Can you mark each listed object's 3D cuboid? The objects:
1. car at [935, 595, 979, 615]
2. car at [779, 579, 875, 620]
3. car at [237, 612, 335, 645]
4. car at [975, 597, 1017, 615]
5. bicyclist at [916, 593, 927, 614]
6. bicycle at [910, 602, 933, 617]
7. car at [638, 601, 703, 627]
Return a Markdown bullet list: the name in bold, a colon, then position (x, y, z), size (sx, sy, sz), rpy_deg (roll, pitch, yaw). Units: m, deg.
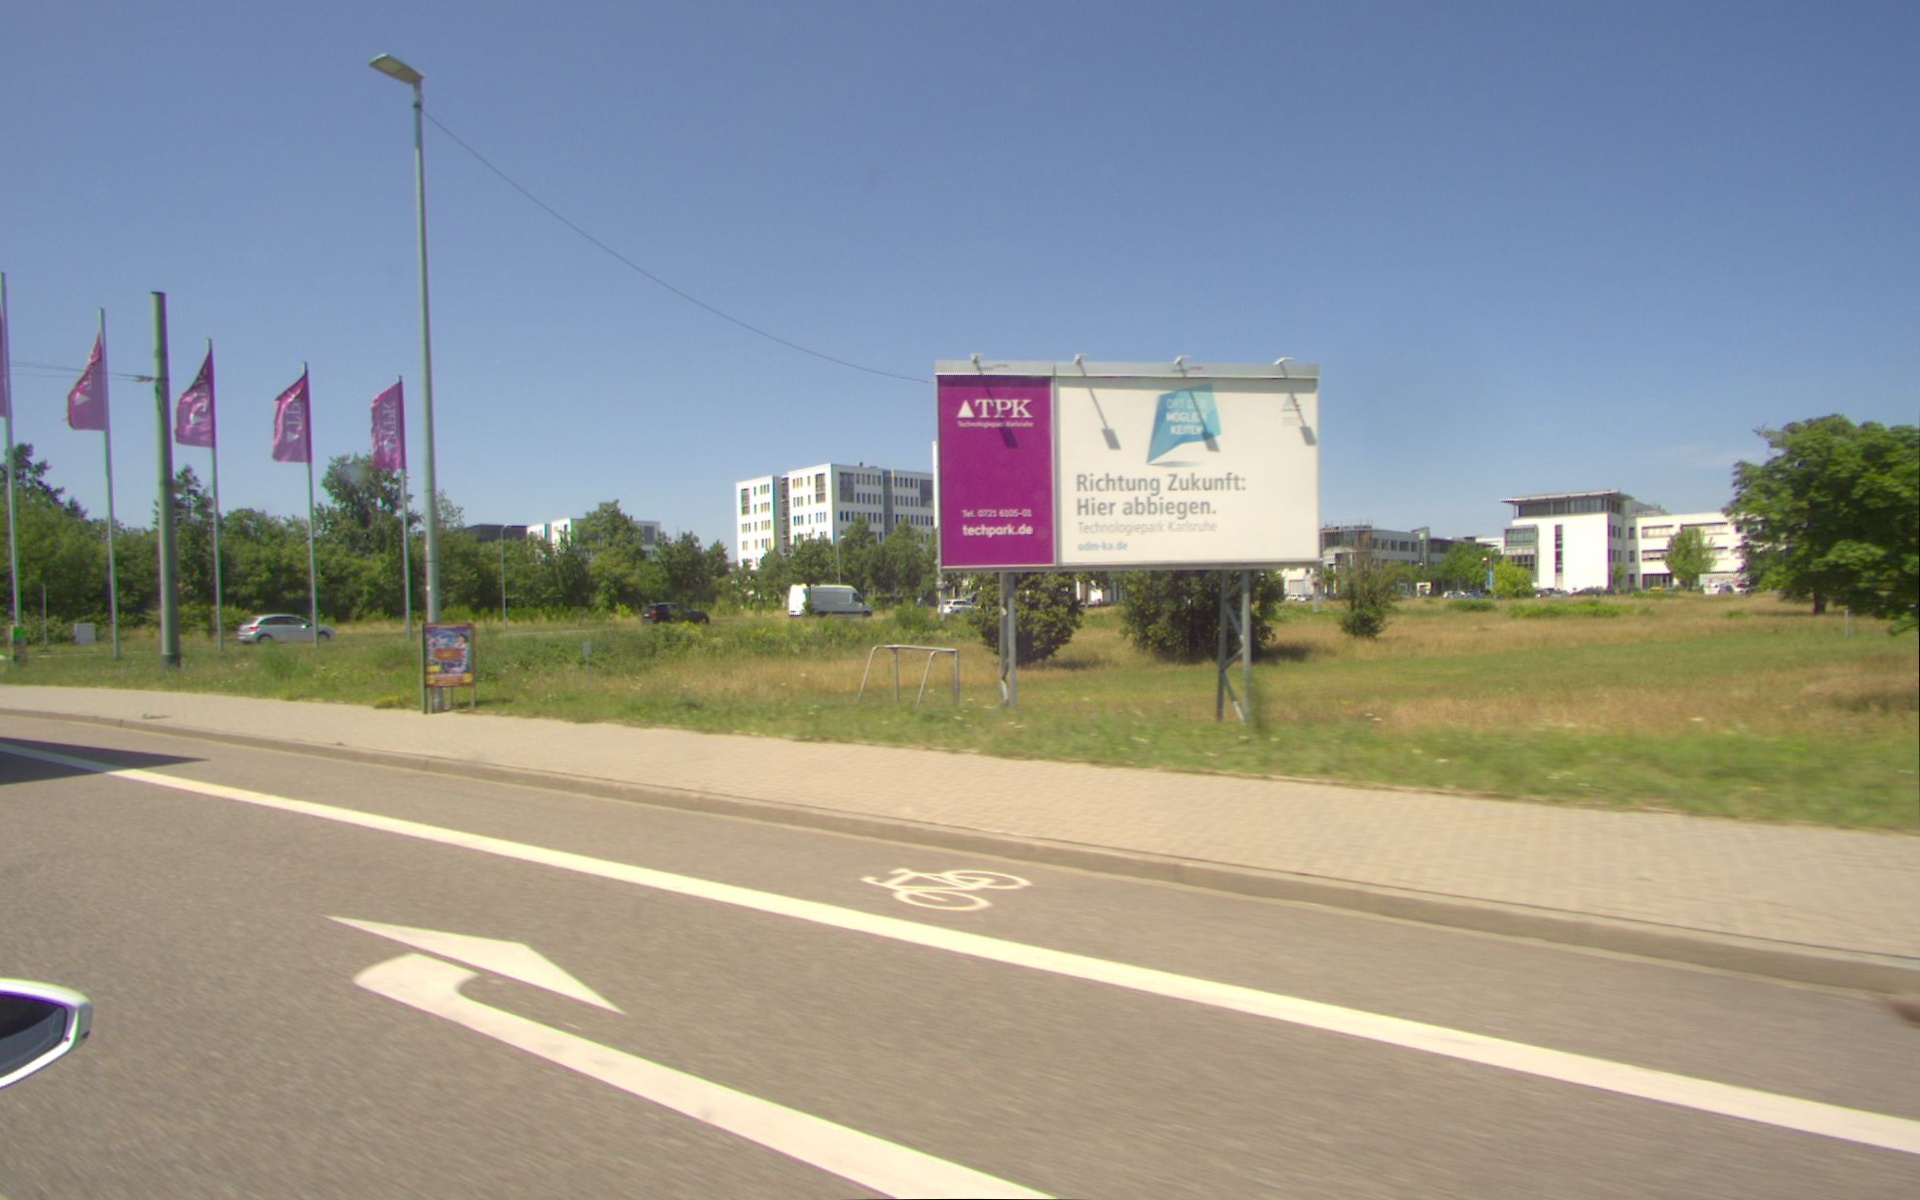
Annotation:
- **car**: position (-0.232, 0.444, 82.332), size (1.688, 1.552, 3.595), rpy_deg (-1, -2, 44)
- **car**: position (-9.562, -0.011, 72.513), size (2.640, 2.838, 6.794), rpy_deg (-2, -1, 43)
- **car**: position (-32.189, 1.357, 47.892), size (1.687, 1.552, 3.597), rpy_deg (-1, -2, 42)
- **car**: position (3.097, 0.534, 86.109), size (1.688, 1.552, 3.595), rpy_deg (-1, -2, 44)
- **bicyclist**: position (-3.148, 0.300, 81.666), size (0.602, 1.646, 0.686), rpy_deg (3, 4, 43)
- **bicycle**: position (-3.137, 0.771, 81.703), size (0.607, 1.196, 1.947), rpy_deg (3, 3, 43)
- **car**: position (-17.976, 0.901, 62.372), size (1.685, 1.552, 3.602), rpy_deg (-1, -1, 38)
